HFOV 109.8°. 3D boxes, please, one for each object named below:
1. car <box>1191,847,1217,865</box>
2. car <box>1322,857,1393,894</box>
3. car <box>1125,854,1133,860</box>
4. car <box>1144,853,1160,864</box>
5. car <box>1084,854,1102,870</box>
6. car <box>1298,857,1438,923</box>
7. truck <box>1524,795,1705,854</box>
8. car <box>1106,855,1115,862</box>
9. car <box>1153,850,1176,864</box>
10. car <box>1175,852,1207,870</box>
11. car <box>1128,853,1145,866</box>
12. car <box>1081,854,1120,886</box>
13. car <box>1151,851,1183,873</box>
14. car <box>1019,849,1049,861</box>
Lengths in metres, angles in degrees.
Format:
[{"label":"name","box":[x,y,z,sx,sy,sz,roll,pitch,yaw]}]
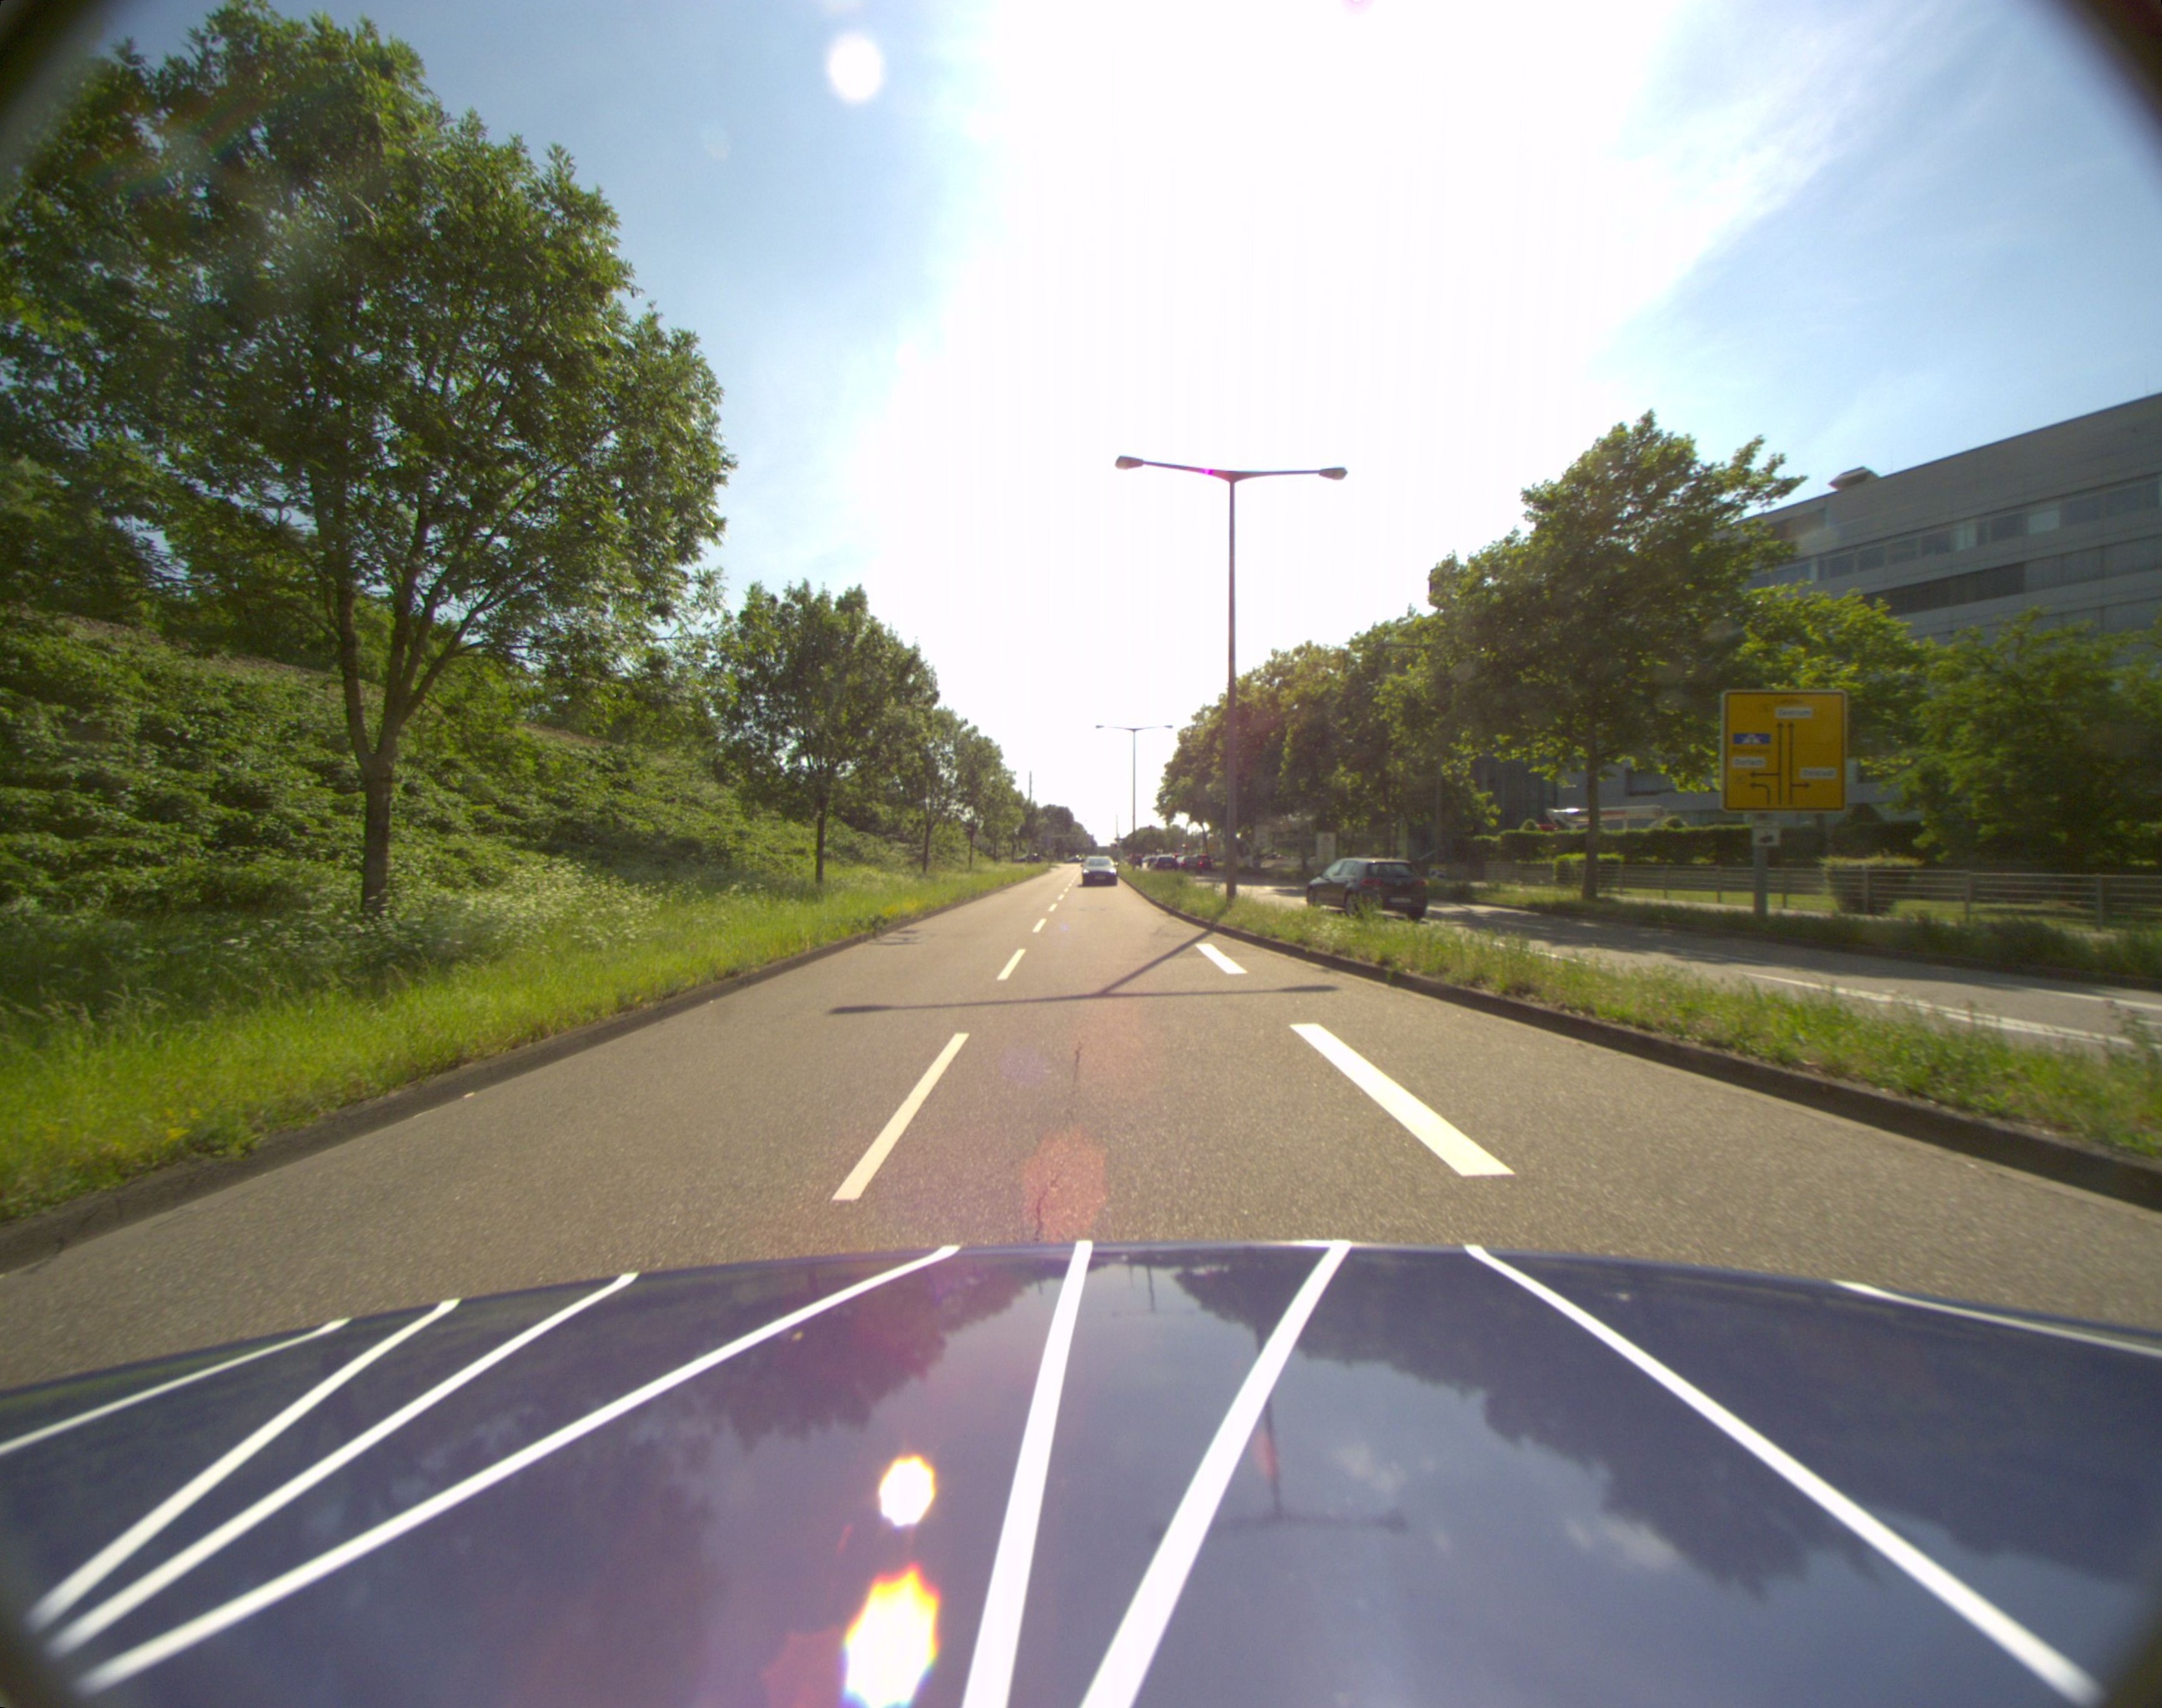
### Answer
[{"label":"car","box":[12.975,0.264,80.431,1.998,1.824,4.651,1,0,0]},{"label":"car","box":[11.815,0.865,32.747,1.767,1.454,4.001,1,0,3]},{"label":"car","box":[14.630,0.891,231.538,1.998,1.713,5.169,-1,-2,5]},{"label":"car","box":[9.557,0.637,102.340,1.766,1.466,3.958,0,0,0]},{"label":"car","box":[1.320,0.882,84.360,1.998,1.699,4.431,0,0,0]},{"label":"car","box":[7.117,0.824,19.319,1.844,1.470,4.165,0,0,-2]},{"label":"truck","box":[33.431,-1.720,48.116,2.678,3.376,8.965,0,0,-36]},{"label":"car","box":[6.573,0.962,167.370,1.714,1.498,4.004,-1,-2,6]},{"label":"car","box":[9.296,0.352,84.853,1.998,1.601,4.496,1,-1,0]},{"label":"car","box":[9.283,0.606,64.483,1.832,1.459,4.987,0,0,-1]},{"label":"car","box":[7.036,0.730,96.977,1.812,1.605,4.491,0,0,-1]},{"label":"car","box":[0.926,0.767,37.969,1.827,1.497,4.216,0,0,0]},{"label":"car","box":[6.155,0.560,54.894,1.777,1.459,4.671,1,0,1]},{"label":"car","box":[-8.032,0.161,130.069,4.728,2.001,1.996,1,-2,-28]}]
